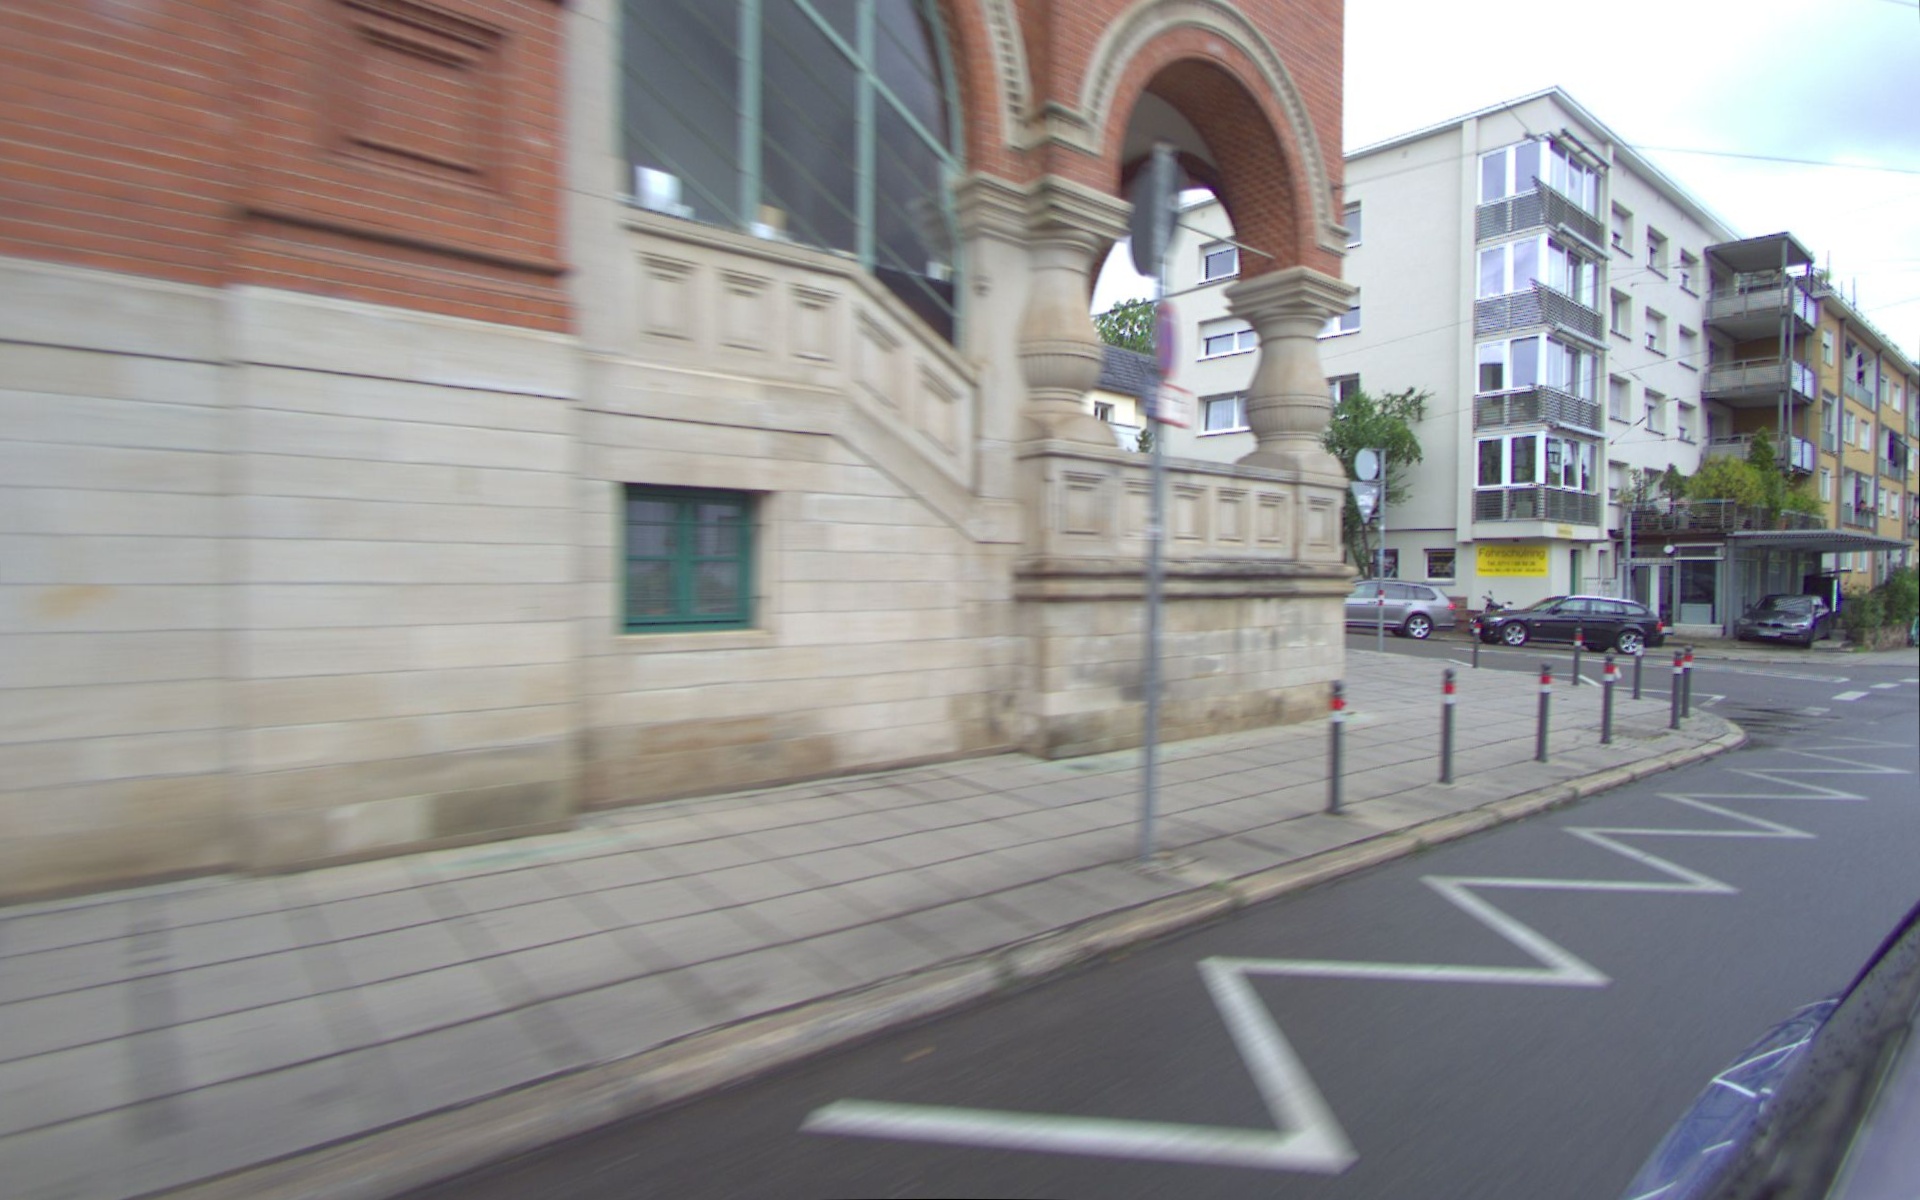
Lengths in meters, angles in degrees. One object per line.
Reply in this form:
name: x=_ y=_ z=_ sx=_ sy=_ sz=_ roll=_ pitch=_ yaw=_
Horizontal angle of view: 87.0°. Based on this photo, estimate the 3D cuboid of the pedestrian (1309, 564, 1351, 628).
pedestrian: x=11.197 y=-0.138 z=30.636 sx=1.010 sy=1.820 sz=0.775 roll=6 pitch=3 yaw=19

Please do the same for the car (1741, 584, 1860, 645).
car: x=25.330 y=0.385 z=30.463 sx=4.369 sy=1.521 sz=1.859 roll=-2 pitch=5 yaw=-39

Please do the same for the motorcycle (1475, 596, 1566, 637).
motorcycle: x=16.305 y=0.461 z=29.463 sx=2.177 sy=0.991 sz=0.551 roll=5 pitch=2 yaw=9

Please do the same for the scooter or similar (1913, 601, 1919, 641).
scooter or similar: x=33.080 y=0.723 z=34.480 sx=1.629 sy=1.342 sz=0.536 roll=0 pitch=6 yaw=-39

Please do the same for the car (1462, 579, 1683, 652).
car: x=15.773 y=0.376 z=26.297 sx=4.377 sy=1.475 sz=1.997 roll=5 pitch=1 yaw=9

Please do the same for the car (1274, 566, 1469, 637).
car: x=10.870 y=0.009 z=27.057 sx=4.377 sy=1.475 sz=1.997 roll=5 pitch=2 yaw=9
